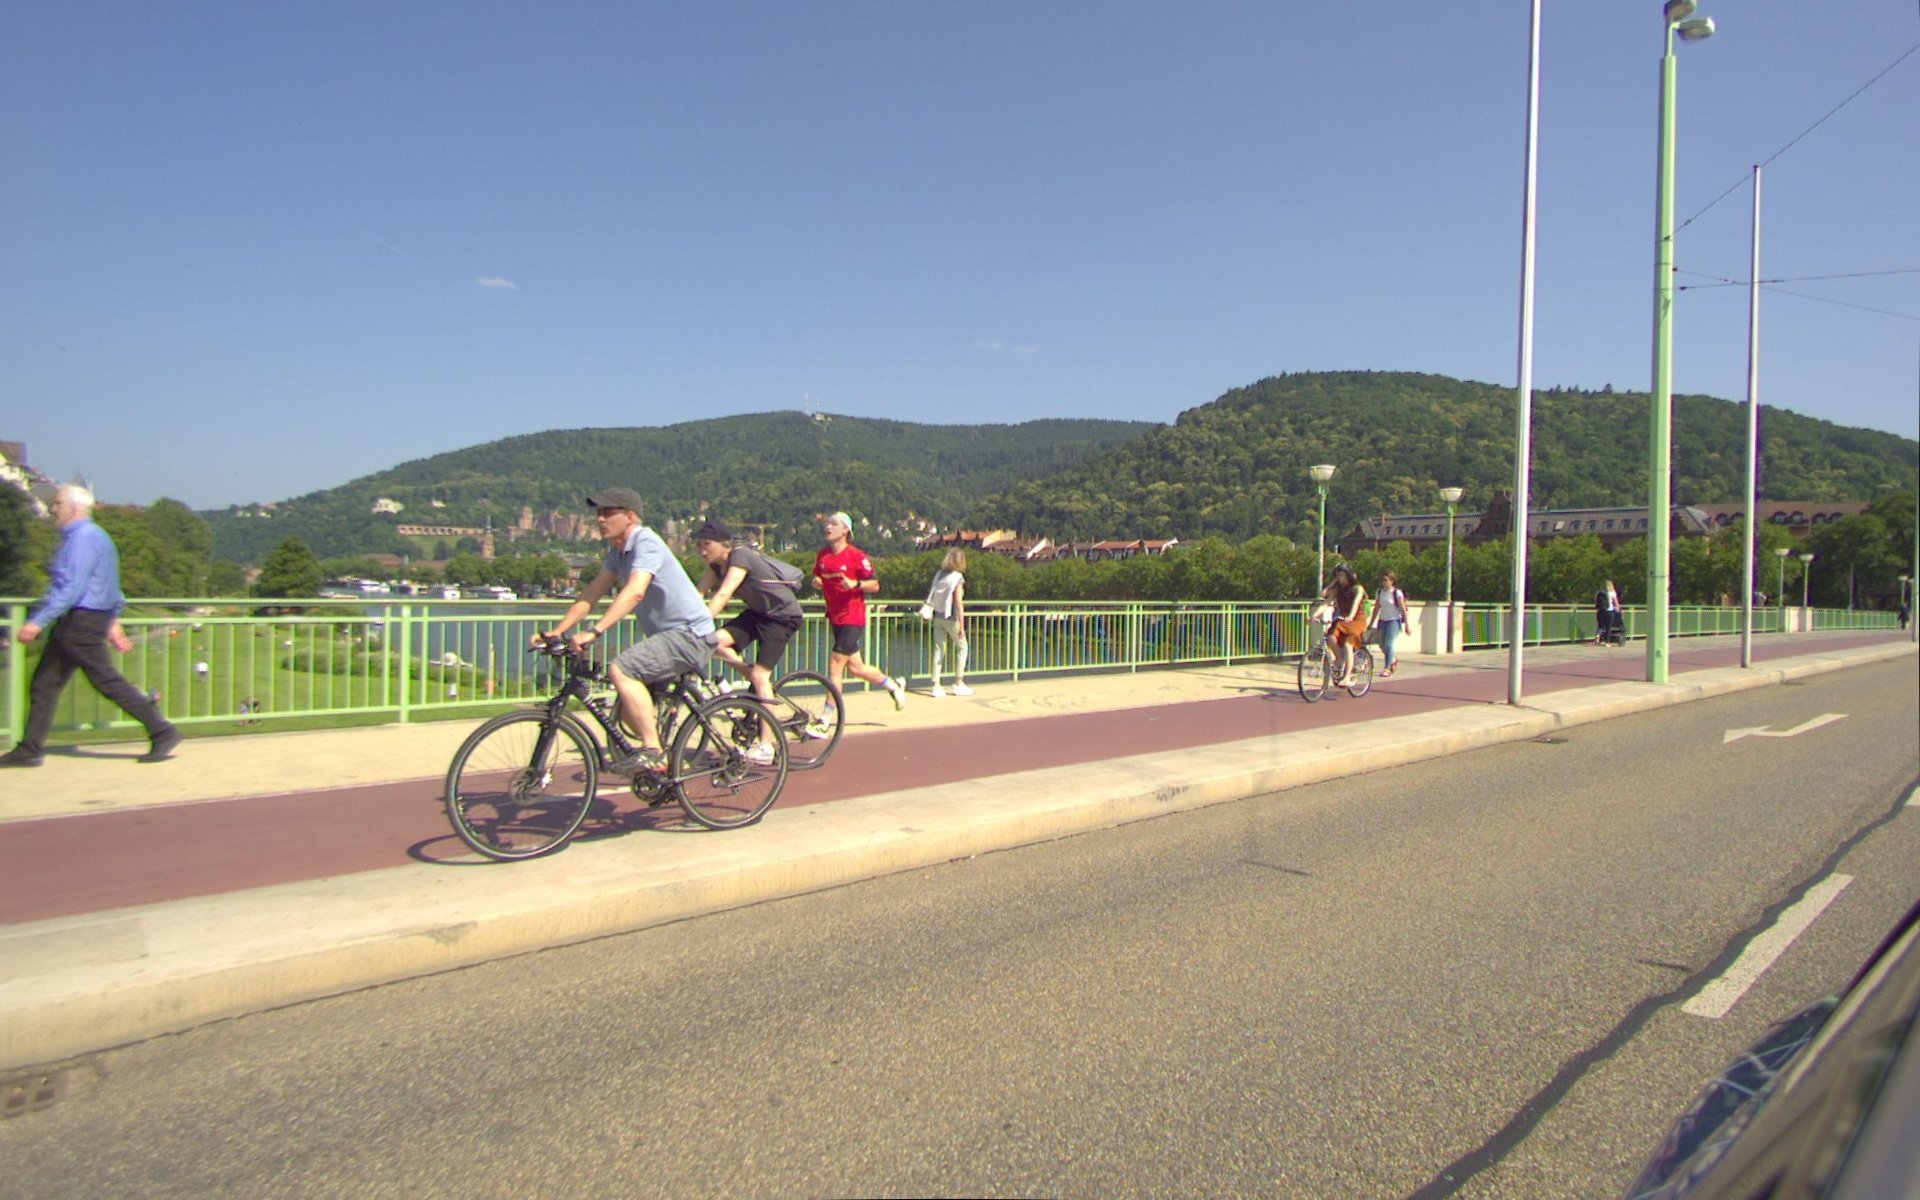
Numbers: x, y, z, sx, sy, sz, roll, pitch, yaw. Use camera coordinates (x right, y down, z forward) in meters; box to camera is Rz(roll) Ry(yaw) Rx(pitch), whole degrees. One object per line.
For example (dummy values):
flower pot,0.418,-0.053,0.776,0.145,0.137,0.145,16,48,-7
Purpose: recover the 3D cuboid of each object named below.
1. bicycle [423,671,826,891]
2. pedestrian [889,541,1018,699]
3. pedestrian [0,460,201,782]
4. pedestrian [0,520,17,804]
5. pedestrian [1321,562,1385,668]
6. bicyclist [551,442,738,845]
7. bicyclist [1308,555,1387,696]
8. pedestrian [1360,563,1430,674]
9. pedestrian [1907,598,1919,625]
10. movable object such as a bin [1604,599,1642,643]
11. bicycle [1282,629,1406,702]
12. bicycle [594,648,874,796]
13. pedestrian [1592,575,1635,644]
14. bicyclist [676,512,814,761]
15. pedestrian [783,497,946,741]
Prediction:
bicycle,-1.605,0.817,5.079,1.835,0.775,0.594,0,2,-43
pedestrian,-0.078,0.197,11.510,1.063,1.683,0.949,0,2,-40
pedestrian,-5.720,0.109,6.641,1.117,1.921,0.927,0,1,-41
pedestrian,-5.819,0.319,5.534,0.916,1.548,0.831,0,2,-40
pedestrian,6.414,0.231,16.517,0.733,1.679,0.668,0,2,-40
bicyclist,-1.579,0.190,5.067,0.690,1.842,0.587,0,2,-42
bicyclist,4.766,0.291,12.463,0.689,1.671,0.606,0,2,-39
pedestrian,6.811,0.275,15.847,0.810,1.679,0.664,0,2,-41
pedestrian,60.205,0.738,63.512,1.063,1.683,0.949,0,2,-40
movable object such as a bin,17.507,0.547,26.719,0.917,1.104,0.583,0,1,-41
bicycle,4.755,0.779,12.481,1.833,0.775,0.595,0,2,-40
bicycle,-1.480,0.767,6.871,1.800,0.775,0.594,0,2,-43
pedestrian,16.889,0.226,26.160,0.844,1.727,0.664,0,2,-41
bicyclist,-1.458,0.219,6.866,0.690,1.578,0.587,0,2,-42
pedestrian,-0.822,0.133,8.747,1.108,1.948,0.812,0,2,-41
